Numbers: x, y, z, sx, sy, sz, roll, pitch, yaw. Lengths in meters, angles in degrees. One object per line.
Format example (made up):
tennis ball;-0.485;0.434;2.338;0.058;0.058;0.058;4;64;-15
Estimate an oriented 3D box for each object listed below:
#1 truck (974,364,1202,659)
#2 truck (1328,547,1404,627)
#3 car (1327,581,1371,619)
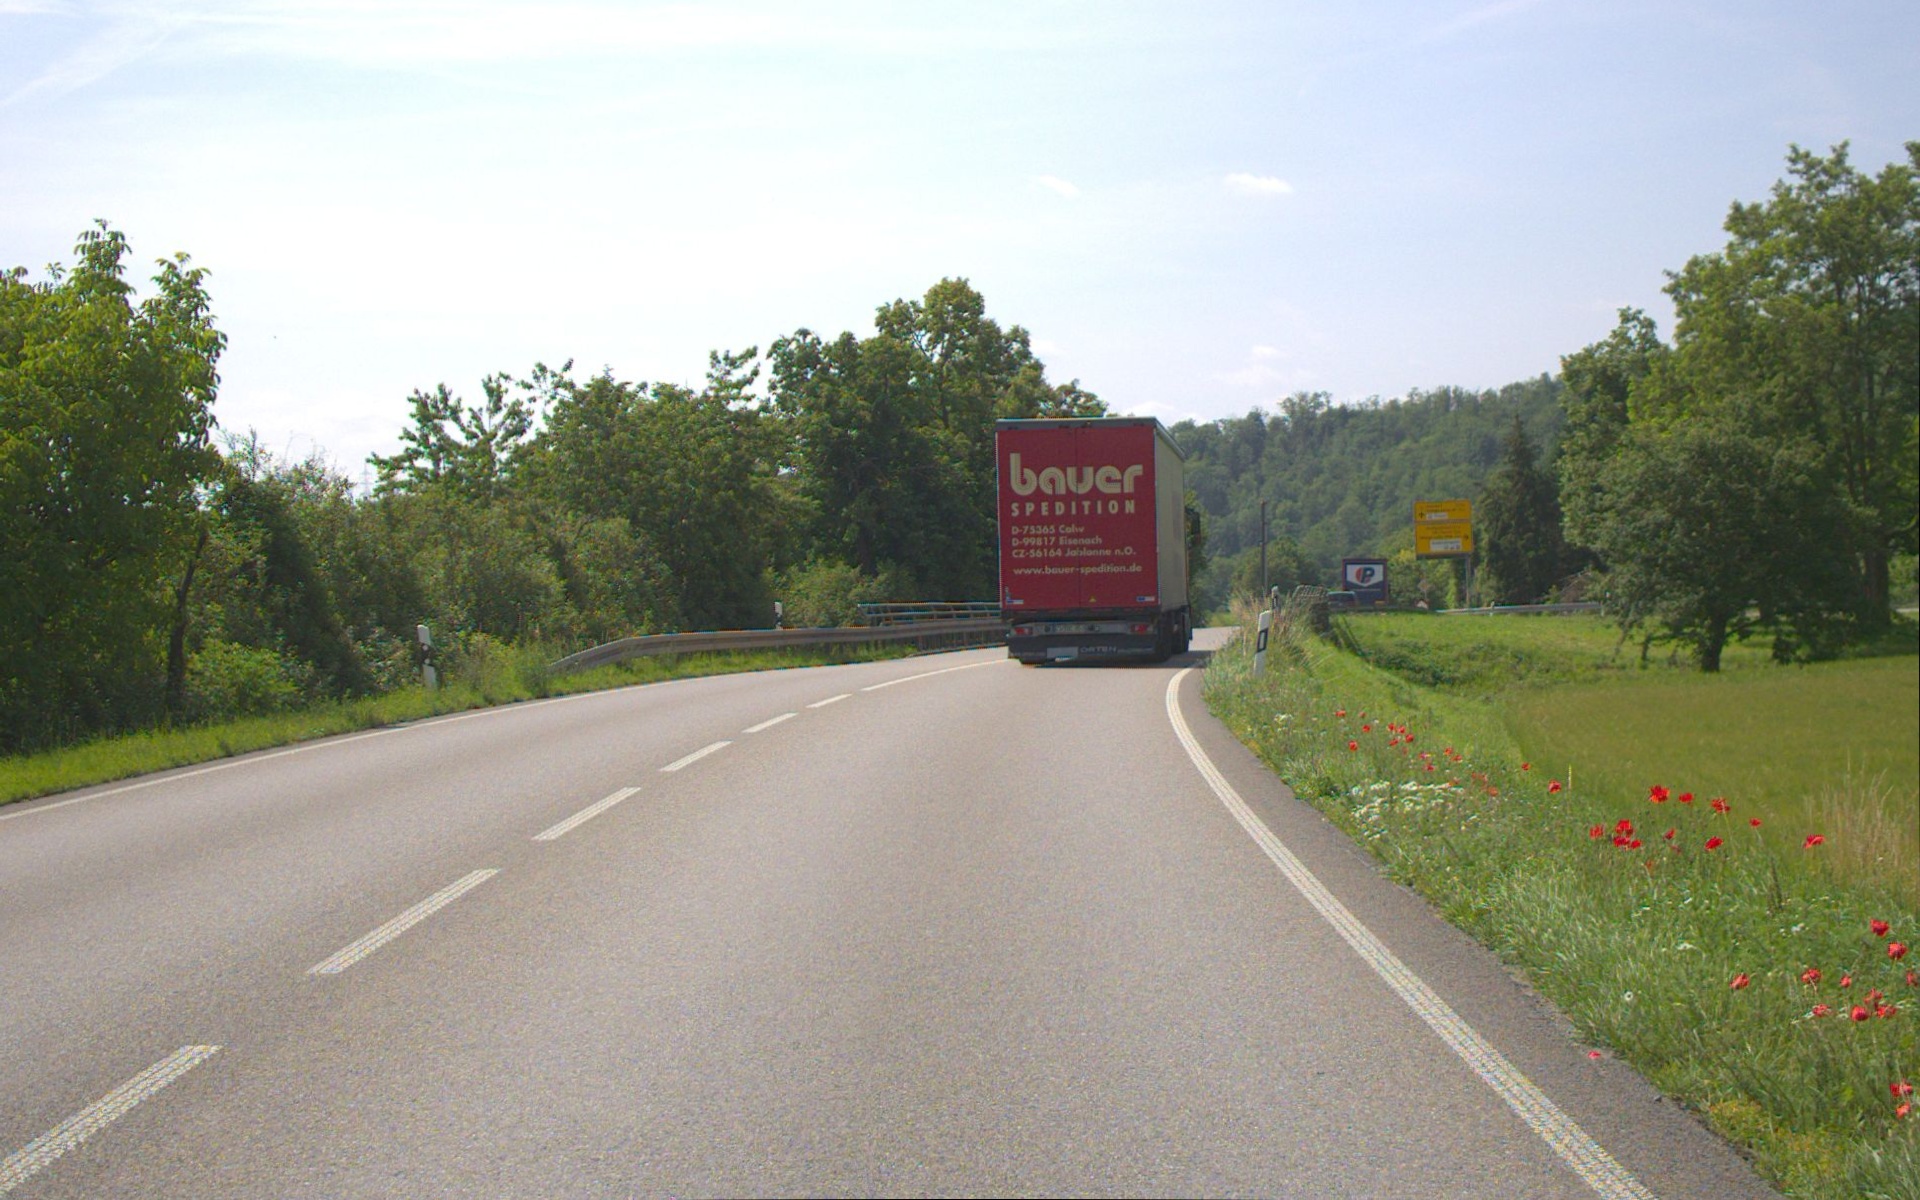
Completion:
truck;2.480;-1.438;60.851;3.173;4.609;13.540;0;0;6
truck;24.200;-0.698;204.374;3.906;4.355;13.286;0;-1;9
car;19.819;0.019;174.874;1.994;1.804;3.998;1;-1;9
